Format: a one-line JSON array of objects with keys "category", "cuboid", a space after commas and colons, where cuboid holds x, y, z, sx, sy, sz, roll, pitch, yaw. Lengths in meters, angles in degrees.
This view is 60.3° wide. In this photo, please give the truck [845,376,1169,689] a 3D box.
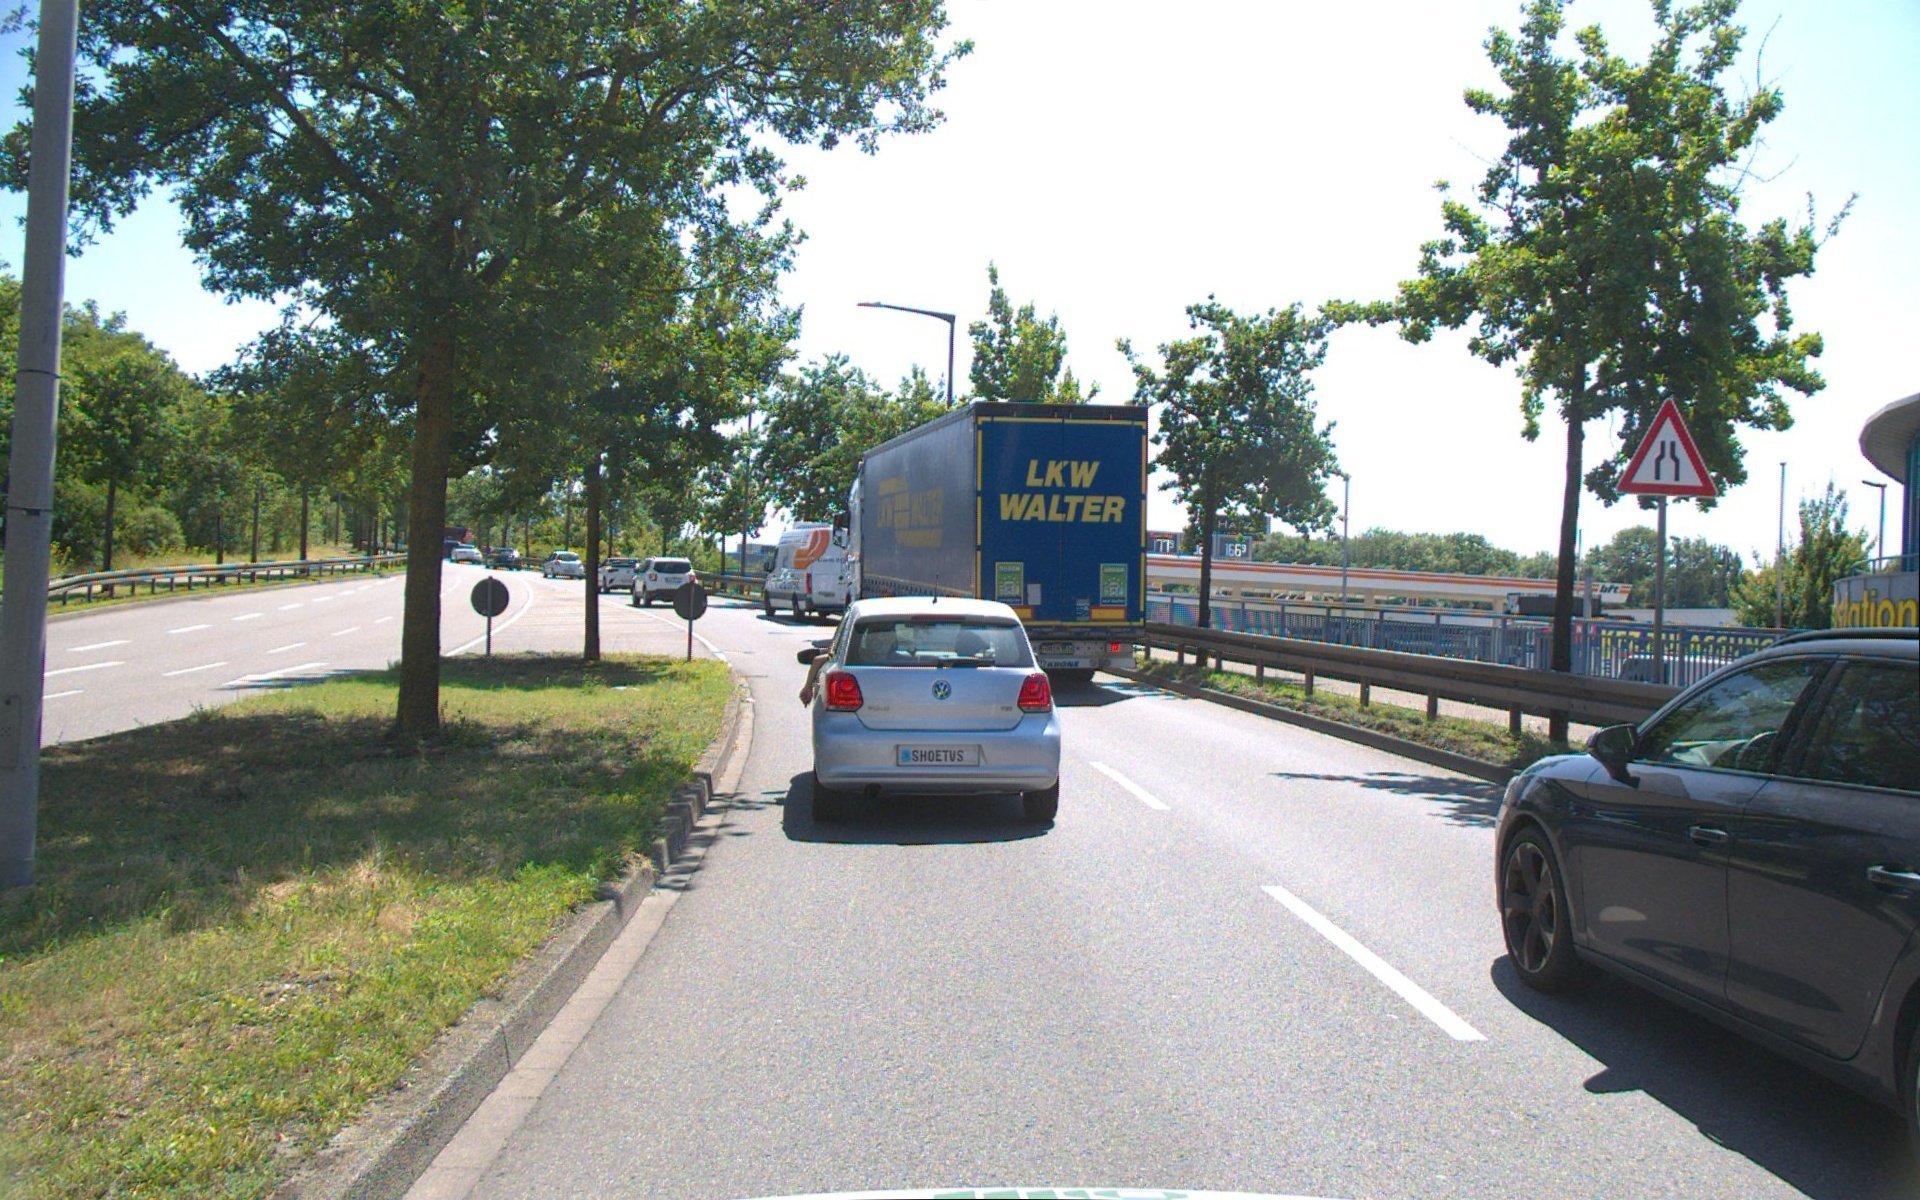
[{"category": "truck", "cuboid": [0.115, -0.995, 31.198, 2.781, 4.271, 16.435, 2, 0, -10]}]

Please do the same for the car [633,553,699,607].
[{"category": "car", "cuboid": [-10.188, -0.649, 57.097, 1.872, 1.748, 4.206, 2, -1, -15]}]

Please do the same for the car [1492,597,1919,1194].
[{"category": "car", "cuboid": [3.145, 0.760, 4.895, 1.572, 1.481, 4.232, 2, -1, -3]}]

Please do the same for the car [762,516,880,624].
[{"category": "car", "cuboid": [-4.226, -0.930, 49.212, 2.141, 2.951, 6.328, 2, 1, -17]}]

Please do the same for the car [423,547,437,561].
[{"category": "car", "cuboid": [-50.806, -4.401, 158.587, 1.301, 1.158, 2.980, 2, -1, -18]}]

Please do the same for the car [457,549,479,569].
[{"category": "car", "cuboid": [-36.369, -3.018, 122.264, 1.433, 1.337, 3.621, 2, -1, -16]}]

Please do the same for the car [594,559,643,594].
[{"category": "car", "cuboid": [-14.451, -1.002, 69.854, 1.473, 1.383, 3.640, 2, 0, -20]}]

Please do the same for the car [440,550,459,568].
[{"category": "car", "cuboid": [-41.548, -3.335, 134.677, 1.395, 1.337, 3.322, 2, -1, -17]}]

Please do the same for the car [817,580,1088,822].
[{"category": "car", "cuboid": [-0.187, 0.642, 12.018, 1.614, 1.464, 3.532, 2, -1, -6]}]

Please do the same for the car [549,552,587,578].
[{"category": "car", "cuboid": [-21.755, -1.928, 91.766, 1.585, 1.383, 3.640, 2, 0, -21]}]

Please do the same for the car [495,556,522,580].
[{"category": "car", "cuboid": [-29.839, -2.082, 109.222, 1.638, 1.490, 3.564, 2, -1, -17]}]
